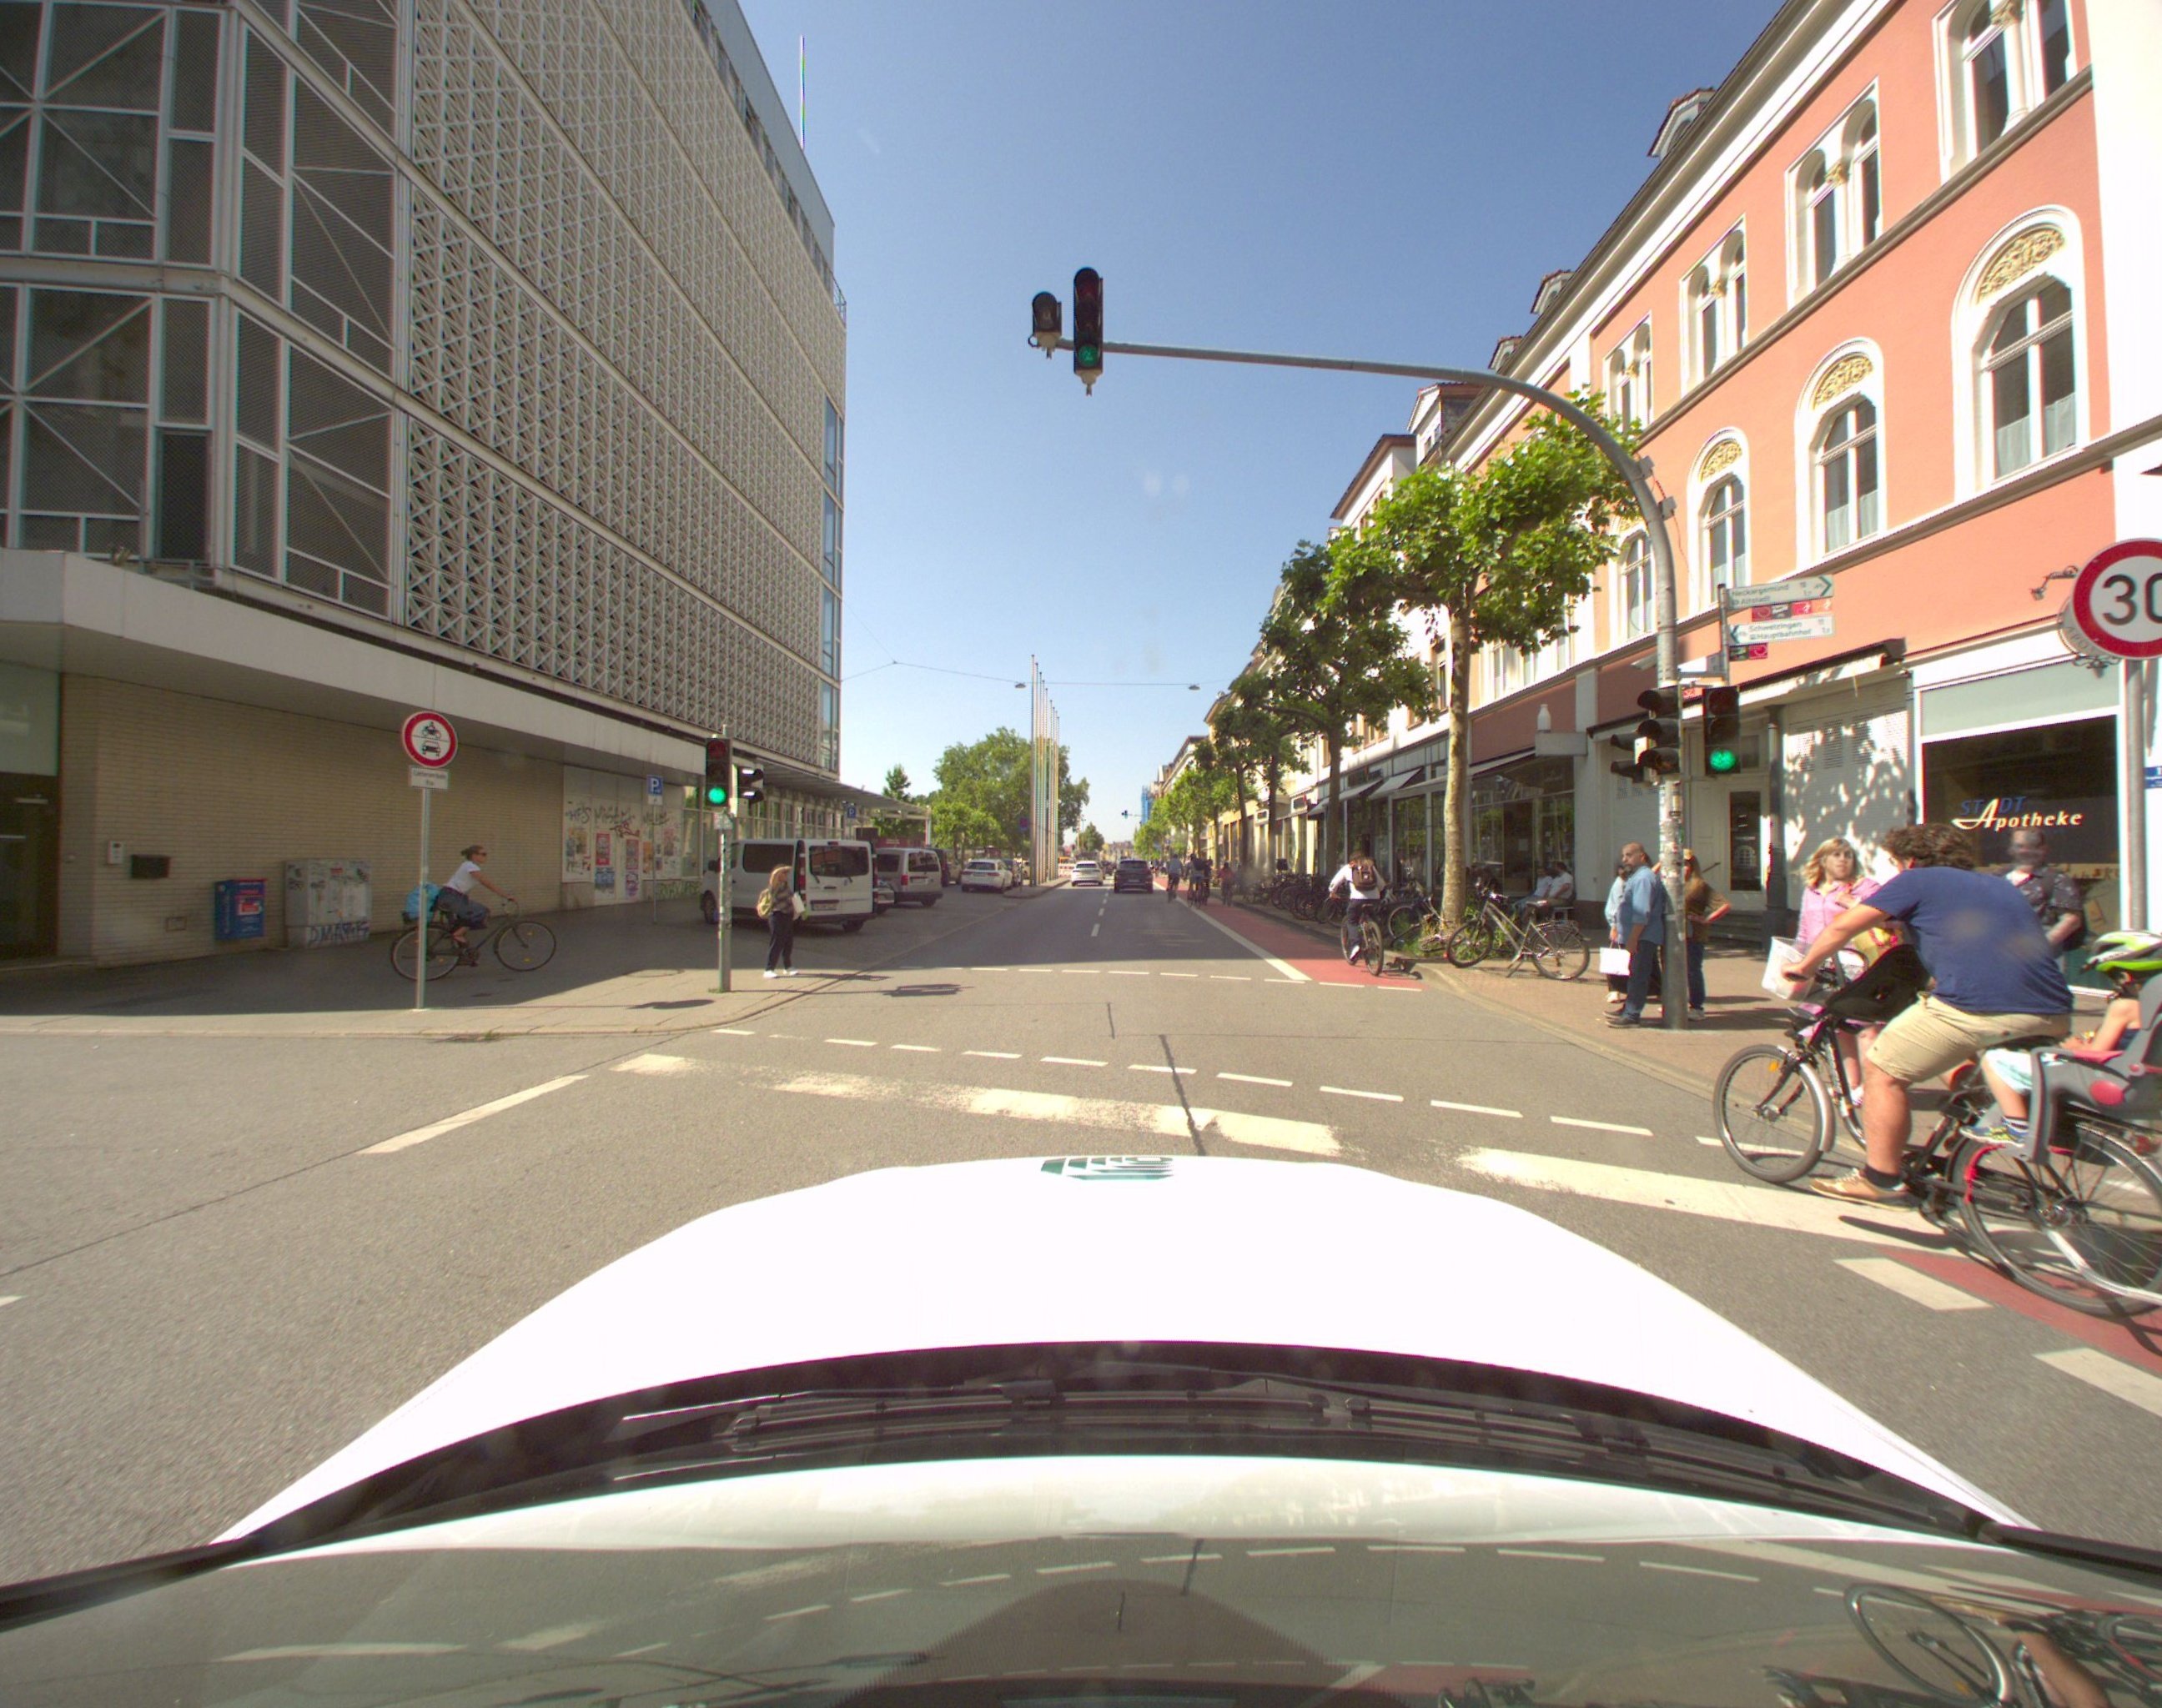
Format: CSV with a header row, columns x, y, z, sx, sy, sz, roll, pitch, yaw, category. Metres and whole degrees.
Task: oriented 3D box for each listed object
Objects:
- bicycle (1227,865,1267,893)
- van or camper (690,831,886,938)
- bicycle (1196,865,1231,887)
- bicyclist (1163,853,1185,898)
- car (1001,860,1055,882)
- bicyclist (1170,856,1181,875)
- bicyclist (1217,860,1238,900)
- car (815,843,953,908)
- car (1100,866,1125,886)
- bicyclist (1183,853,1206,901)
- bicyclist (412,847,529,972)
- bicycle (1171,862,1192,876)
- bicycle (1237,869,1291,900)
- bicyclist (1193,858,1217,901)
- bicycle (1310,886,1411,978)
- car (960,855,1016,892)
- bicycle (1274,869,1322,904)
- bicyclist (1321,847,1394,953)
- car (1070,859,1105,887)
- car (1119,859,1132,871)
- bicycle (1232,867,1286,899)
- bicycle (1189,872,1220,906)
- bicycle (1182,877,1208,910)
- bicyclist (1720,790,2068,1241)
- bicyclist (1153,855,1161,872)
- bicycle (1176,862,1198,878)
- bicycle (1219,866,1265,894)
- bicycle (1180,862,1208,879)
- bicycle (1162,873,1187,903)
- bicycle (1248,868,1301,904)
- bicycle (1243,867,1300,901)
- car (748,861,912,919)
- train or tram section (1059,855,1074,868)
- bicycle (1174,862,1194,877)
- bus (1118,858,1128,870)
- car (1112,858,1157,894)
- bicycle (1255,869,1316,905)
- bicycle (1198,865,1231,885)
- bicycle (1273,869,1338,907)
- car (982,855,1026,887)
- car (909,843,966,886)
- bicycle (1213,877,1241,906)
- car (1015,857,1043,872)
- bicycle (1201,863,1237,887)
x,y,z,sx,sy,sz,roll,pitch,yaw,category
7.460,1.118,36.603,1.783,1.197,0.573,1,-1,-25,bicycle
-6.483,0.546,17.751,4.602,2.013,2.012,2,0,42,van or camper
7.156,1.163,44.049,1.827,1.127,0.499,1,-1,13,bicycle
3.408,0.773,29.934,0.771,1.635,0.852,0,-1,2,bicyclist
-4.120,1.318,64.324,1.873,1.541,4.892,1,1,29,car
9.447,1.150,81.576,0.577,1.797,0.848,-2,-1,-32,bicyclist
5.096,0.908,28.411,0.598,1.358,0.720,0,-1,-1,bicyclist
-6.349,0.618,26.018,4.389,1.909,2.022,0,0,39,car
2.422,1.675,62.862,1.838,1.449,4.002,-1,0,2,car
3.617,0.729,26.021,0.628,1.481,1.198,0,-2,2,bicyclist
-8.043,0.684,10.750,0.727,1.539,1.084,0,0,39,bicyclist
8.640,1.318,70.091,1.835,1.201,0.609,0,-1,4,bicycle
6.739,1.135,30.001,1.839,1.093,0.563,2,-1,-9,bicycle
4.330,0.883,28.465,0.696,1.441,0.790,2,-1,-1,bicyclist
3.949,1.068,11.705,0.696,1.127,2.080,2,-1,-1,bicycle
-4.185,0.844,37.459,1.792,1.523,4.742,1,0,3,car
7.158,1.072,26.863,1.853,1.127,0.443,1,-2,-35,bicycle
3.956,0.638,11.708,0.696,1.446,0.960,2,-1,-1,bicyclist
0.420,1.078,47.811,1.838,1.560,4.003,-1,0,3,car
6.835,1.684,125.217,1.838,1.668,4.002,2,0,2,car
6.663,1.078,30.504,1.839,1.127,0.630,2,-1,-9,bicycle
4.320,1.213,28.606,0.696,1.127,2.080,2,-1,-1,bicycle
3.614,1.241,25.926,0.628,0.980,2.089,0,-1,2,bicycle
3.439,0.599,3.504,0.732,1.673,0.770,-1,-1,-16,bicyclist
6.847,0.864,73.038,0.644,1.551,0.818,0,-1,2,bicyclist
8.214,1.244,63.151,1.720,1.217,0.478,0,-1,4,bicycle
6.906,1.117,34.955,1.837,1.127,0.496,2,0,-6,bicycle
8.178,1.188,58.894,1.922,1.248,0.737,0,-1,4,bicycle
3.413,1.231,29.947,0.771,1.006,2.331,0,0,3,bicycle
6.417,1.048,26.940,1.853,1.127,0.588,1,-2,-34,bicycle
6.844,1.086,29.255,1.840,1.127,0.763,3,-2,-11,bicycle
-6.864,0.924,22.172,4.243,1.286,1.983,2,0,33,car
-3.855,2.079,219.481,2.600,3.348,11.020,0,-1,6,train or tram section
8.631,1.296,68.364,1.641,1.201,0.475,0,-1,4,bicycle
12.713,3.174,246.630,2.983,3.594,11.748,0,-1,2,bus
2.412,0.963,37.888,1.839,1.559,4.000,-1,0,0,car
6.487,1.049,25.907,1.822,1.127,0.451,-1,-2,30,bicycle
7.486,1.191,45.694,1.830,1.097,0.795,1,-1,7,bicycle
6.763,1.029,24.596,1.831,1.127,0.449,0,-2,5,bicycle
-4.025,0.862,43.258,1.754,1.600,4.711,0,0,2,car
-7.136,0.521,41.037,1.824,2.014,4.688,0,0,3,car
5.086,1.299,28.410,0.598,0.926,2.087,0,-1,0,bicycle
-7.018,1.454,110.795,1.842,1.955,4.787,0,-1,23,car
7.272,1.112,42.978,1.829,1.197,0.675,1,-1,9,bicycle
